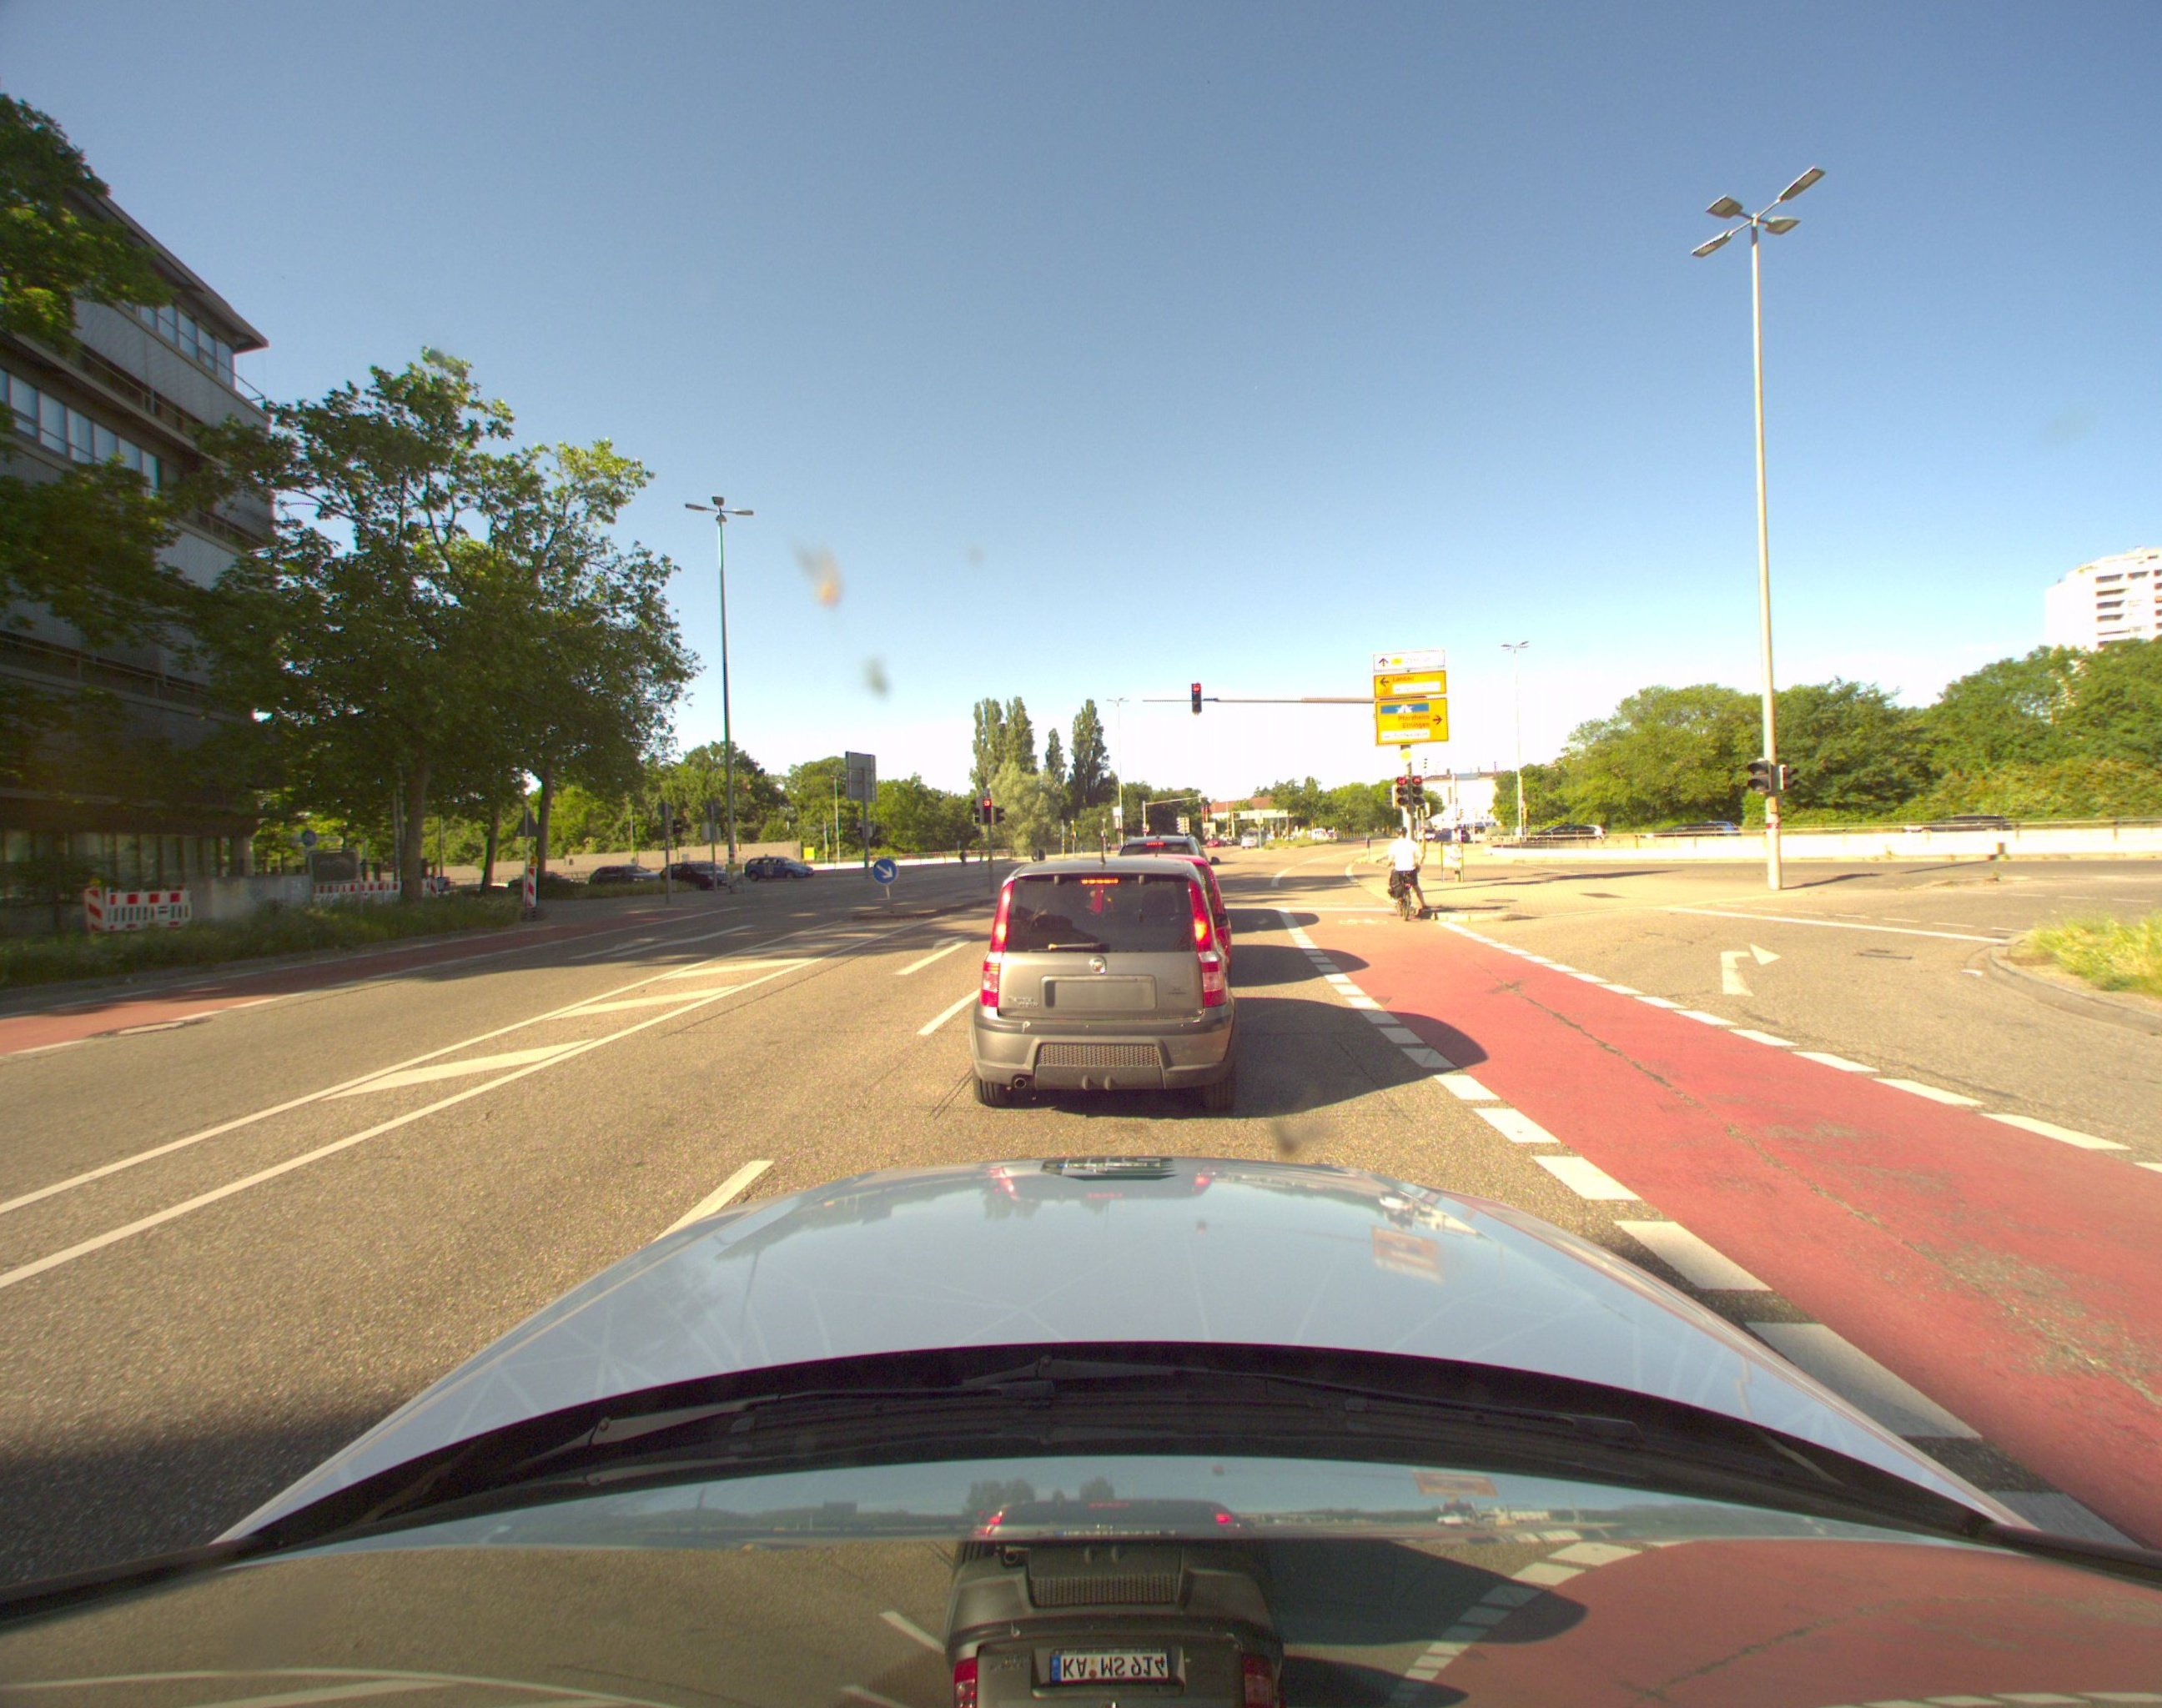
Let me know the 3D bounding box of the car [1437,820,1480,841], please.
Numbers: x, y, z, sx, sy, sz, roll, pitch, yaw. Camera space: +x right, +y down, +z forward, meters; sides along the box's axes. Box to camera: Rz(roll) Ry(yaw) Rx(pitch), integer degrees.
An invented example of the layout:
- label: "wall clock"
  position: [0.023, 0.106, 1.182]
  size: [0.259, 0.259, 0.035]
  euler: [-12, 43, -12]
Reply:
- label: "car"
  position: [37.533, -2.299, 81.170]
  size: [2.006, 1.855, 4.885]
  euler: [-1, -2, 0]

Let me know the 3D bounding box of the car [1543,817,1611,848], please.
- label: "car"
  position: [36.389, -1.550, 59.750]
  size: [3.948, 2.014, 2.012]
  euler: [-3, -2, 40]

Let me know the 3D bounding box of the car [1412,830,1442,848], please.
- label: "car"
  position: [37.939, -1.623, 89.377]
  size: [1.983, 1.750, 4.006]
  euler: [-1, -2, 6]

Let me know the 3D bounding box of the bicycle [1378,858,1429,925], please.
- label: "bicycle"
  position: [6.368, 0.683, 16.000]
  size: [0.792, 1.110, 2.416]
  euler: [-1, 2, 25]

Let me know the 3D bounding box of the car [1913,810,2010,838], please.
- label: "car"
  position: [56.027, -1.900, 51.934]
  size: [3.948, 1.618, 1.739]
  euler: [-1, 1, 40]

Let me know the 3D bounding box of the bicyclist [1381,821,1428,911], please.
- label: "bicyclist"
  position: [6.400, 0.205, 16.081]
  size: [0.792, 1.704, 1.091]
  euler: [-1, 2, 25]

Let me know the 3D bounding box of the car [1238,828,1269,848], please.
- label: "car"
  position: [18.668, -1.695, 87.999]
  size: [1.994, 1.855, 4.914]
  euler: [-2, -2, 26]

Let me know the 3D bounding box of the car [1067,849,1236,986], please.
- label: "car"
  position: [0.925, 0.683, 10.830]
  size: [1.811, 1.479, 4.005]
  euler: [0, 0, 5]

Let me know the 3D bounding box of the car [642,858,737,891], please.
- label: "car"
  position: [-19.643, 1.041, 40.871]
  size: [4.396, 1.438, 1.836]
  euler: [-2, 1, 24]

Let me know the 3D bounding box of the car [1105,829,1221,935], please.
- label: "car"
  position: [1.771, 0.445, 16.194]
  size: [1.857, 1.790, 4.428]
  euler: [0, 1, 11]

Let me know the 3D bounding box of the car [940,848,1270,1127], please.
- label: "car"
  position: [0.312, 0.707, 6.484]
  size: [1.811, 1.489, 4.006]
  euler: [0, 1, 5]

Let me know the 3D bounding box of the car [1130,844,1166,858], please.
- label: "car"
  position: [8.880, -0.400, 107.881]
  size: [4.443, 1.855, 2.000]
  euler: [0, -2, -29]

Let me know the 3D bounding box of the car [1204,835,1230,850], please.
- label: "car"
  position: [19.678, -1.636, 117.866]
  size: [1.993, 1.855, 4.916]
  euler: [-2, -2, 31]

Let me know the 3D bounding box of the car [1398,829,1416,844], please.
- label: "car"
  position: [41.357, -2.217, 103.219]
  size: [1.976, 1.750, 4.021]
  euler: [-2, -2, 22]

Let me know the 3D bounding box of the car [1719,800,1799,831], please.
- label: "car"
  position: [48.191, -2.712, 57.942]
  size: [4.206, 1.855, 2.032]
  euler: [-3, -2, 42]

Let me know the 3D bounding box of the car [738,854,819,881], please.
- label: "car"
  position: [-18.867, 0.832, 50.794]
  size: [4.403, 1.438, 1.834]
  euler: [-2, 0, 15]

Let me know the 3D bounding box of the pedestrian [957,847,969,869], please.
- label: "pedestrian"
  position: [-8.569, 0.298, 59.044]
  size: [0.684, 1.538, 1.365]
  euler: [-1, -4, 0]

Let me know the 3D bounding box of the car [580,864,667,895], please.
- label: "car"
  position: [-24.961, 1.392, 44.429]
  size: [4.396, 1.438, 1.836]
  euler: [-2, 1, 24]
